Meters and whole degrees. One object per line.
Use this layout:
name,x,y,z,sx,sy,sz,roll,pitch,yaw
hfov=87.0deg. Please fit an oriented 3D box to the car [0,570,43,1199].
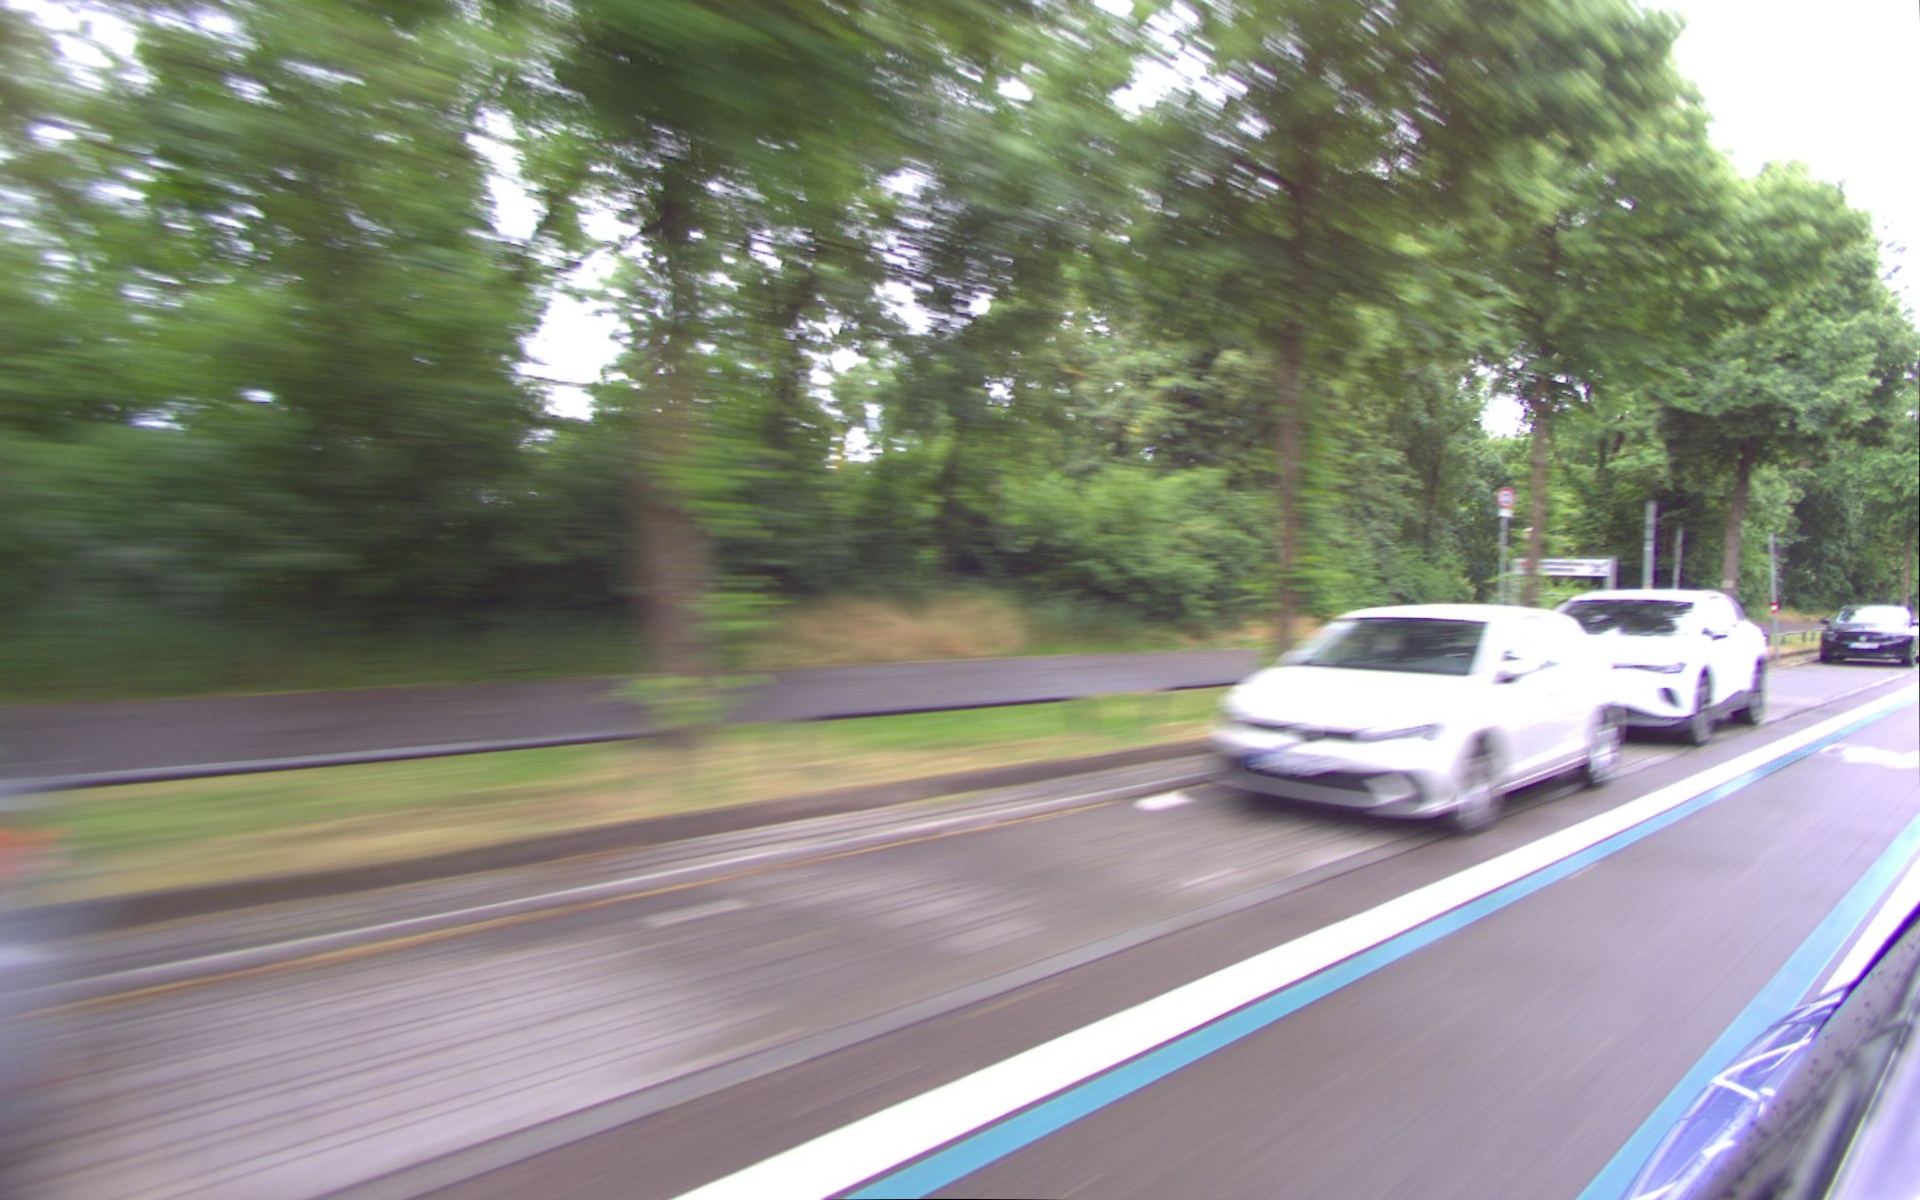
car,-4.002,0.662,1.375,4.026,1.472,1.701,0,0,-41

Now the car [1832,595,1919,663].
car,22.820,0.672,24.820,3.930,1.495,1.698,0,2,-43

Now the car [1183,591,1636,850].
car,3.570,0.686,7.710,3.877,1.472,1.701,0,0,-41

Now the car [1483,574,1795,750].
car,8.155,0.578,11.990,4.483,1.682,1.997,0,1,-42
